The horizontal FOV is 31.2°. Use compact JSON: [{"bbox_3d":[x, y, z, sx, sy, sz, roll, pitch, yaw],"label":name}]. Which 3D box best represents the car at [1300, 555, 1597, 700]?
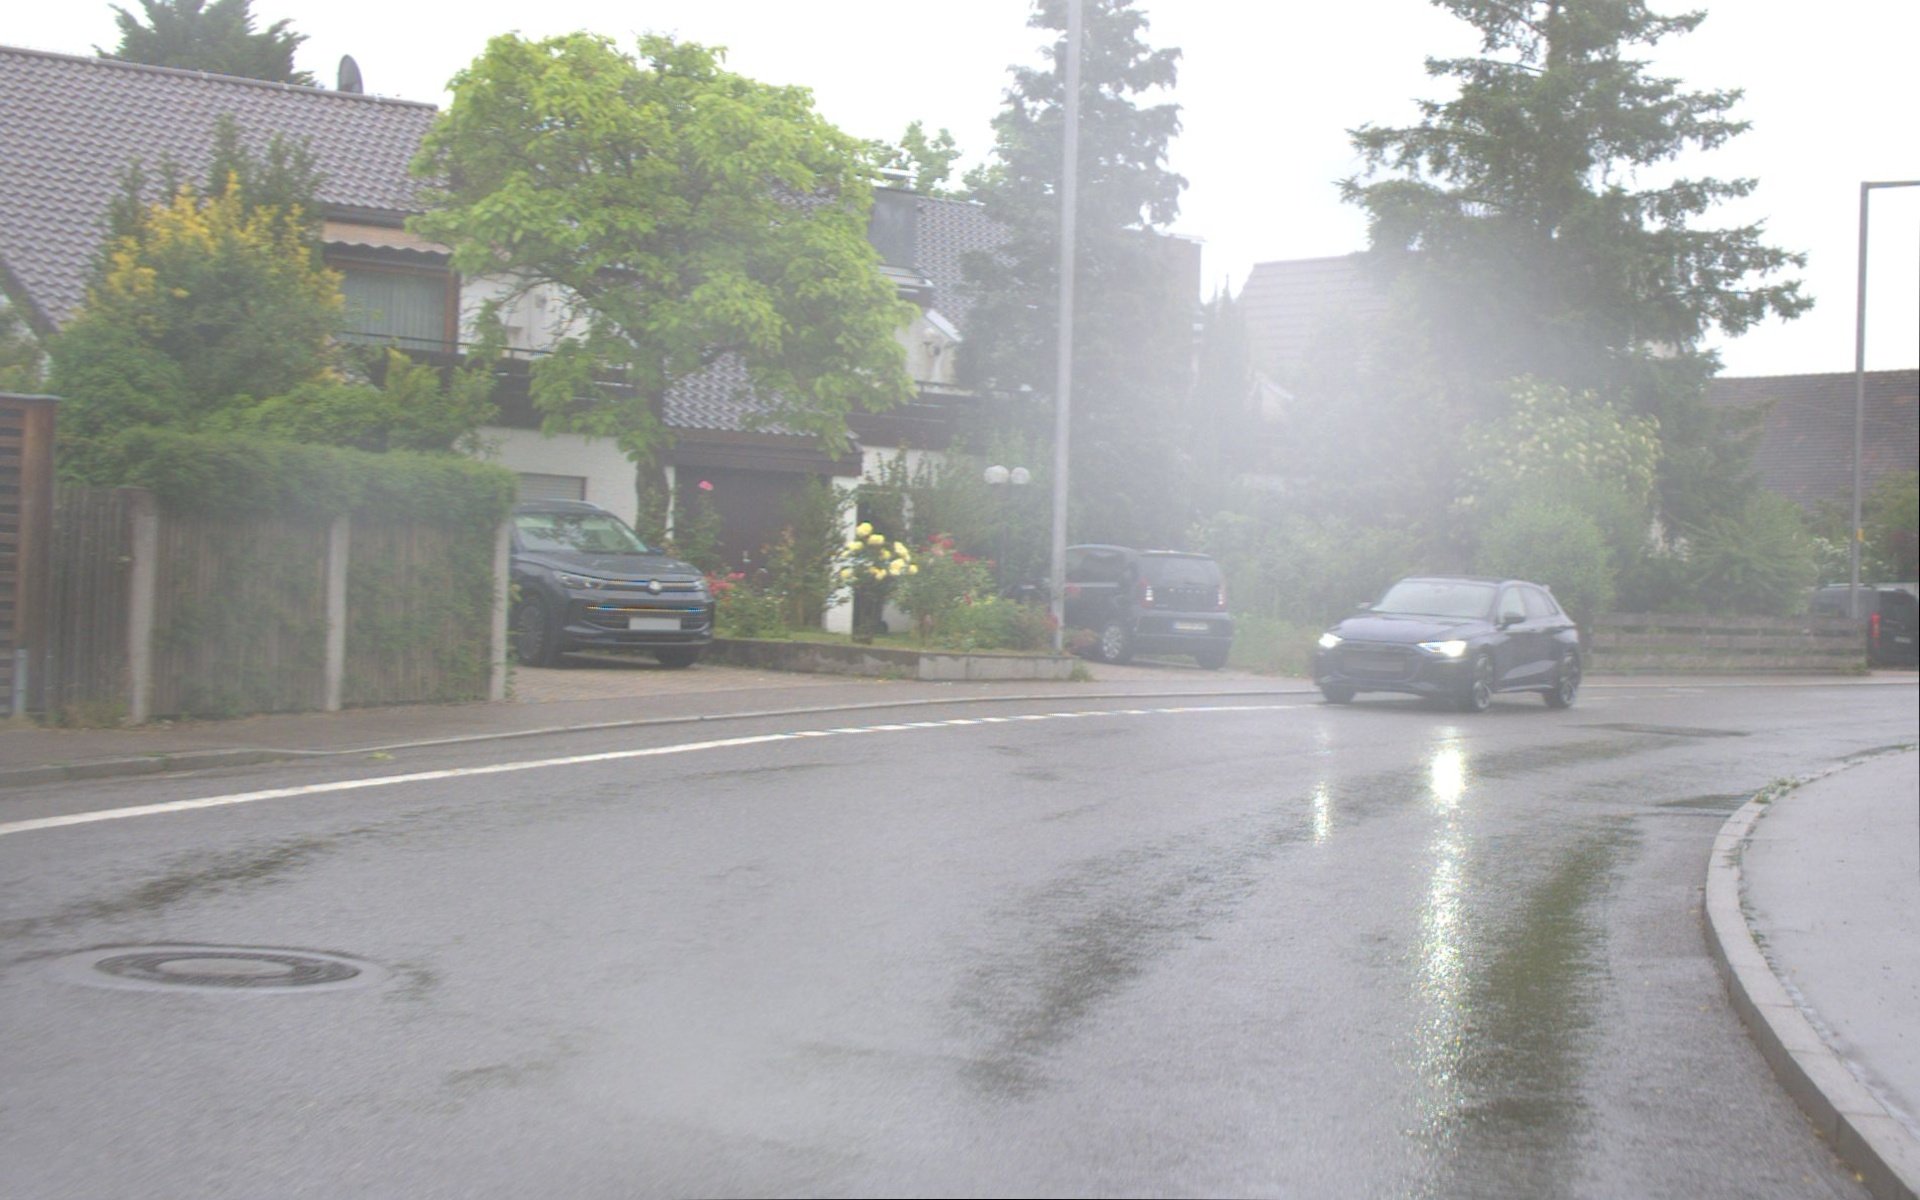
[{"bbox_3d":[5.400,0.280,37.573,1.780,1.415,4.158,3,1,29],"label":"car"}]

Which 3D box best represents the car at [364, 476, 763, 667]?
[{"bbox_3d":[-4.086,-0.312,35.004,2.008,1.626,3.999,3,2,-41],"label":"car"}]

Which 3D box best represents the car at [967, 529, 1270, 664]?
[{"bbox_3d":[1.930,-0.074,43.082,1.934,1.384,4.001,4,1,-28],"label":"car"}]

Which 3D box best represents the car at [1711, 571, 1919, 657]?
[{"bbox_3d":[17.892,0.276,71.572,1.994,1.614,3.999,1,1,-40],"label":"car"}]
